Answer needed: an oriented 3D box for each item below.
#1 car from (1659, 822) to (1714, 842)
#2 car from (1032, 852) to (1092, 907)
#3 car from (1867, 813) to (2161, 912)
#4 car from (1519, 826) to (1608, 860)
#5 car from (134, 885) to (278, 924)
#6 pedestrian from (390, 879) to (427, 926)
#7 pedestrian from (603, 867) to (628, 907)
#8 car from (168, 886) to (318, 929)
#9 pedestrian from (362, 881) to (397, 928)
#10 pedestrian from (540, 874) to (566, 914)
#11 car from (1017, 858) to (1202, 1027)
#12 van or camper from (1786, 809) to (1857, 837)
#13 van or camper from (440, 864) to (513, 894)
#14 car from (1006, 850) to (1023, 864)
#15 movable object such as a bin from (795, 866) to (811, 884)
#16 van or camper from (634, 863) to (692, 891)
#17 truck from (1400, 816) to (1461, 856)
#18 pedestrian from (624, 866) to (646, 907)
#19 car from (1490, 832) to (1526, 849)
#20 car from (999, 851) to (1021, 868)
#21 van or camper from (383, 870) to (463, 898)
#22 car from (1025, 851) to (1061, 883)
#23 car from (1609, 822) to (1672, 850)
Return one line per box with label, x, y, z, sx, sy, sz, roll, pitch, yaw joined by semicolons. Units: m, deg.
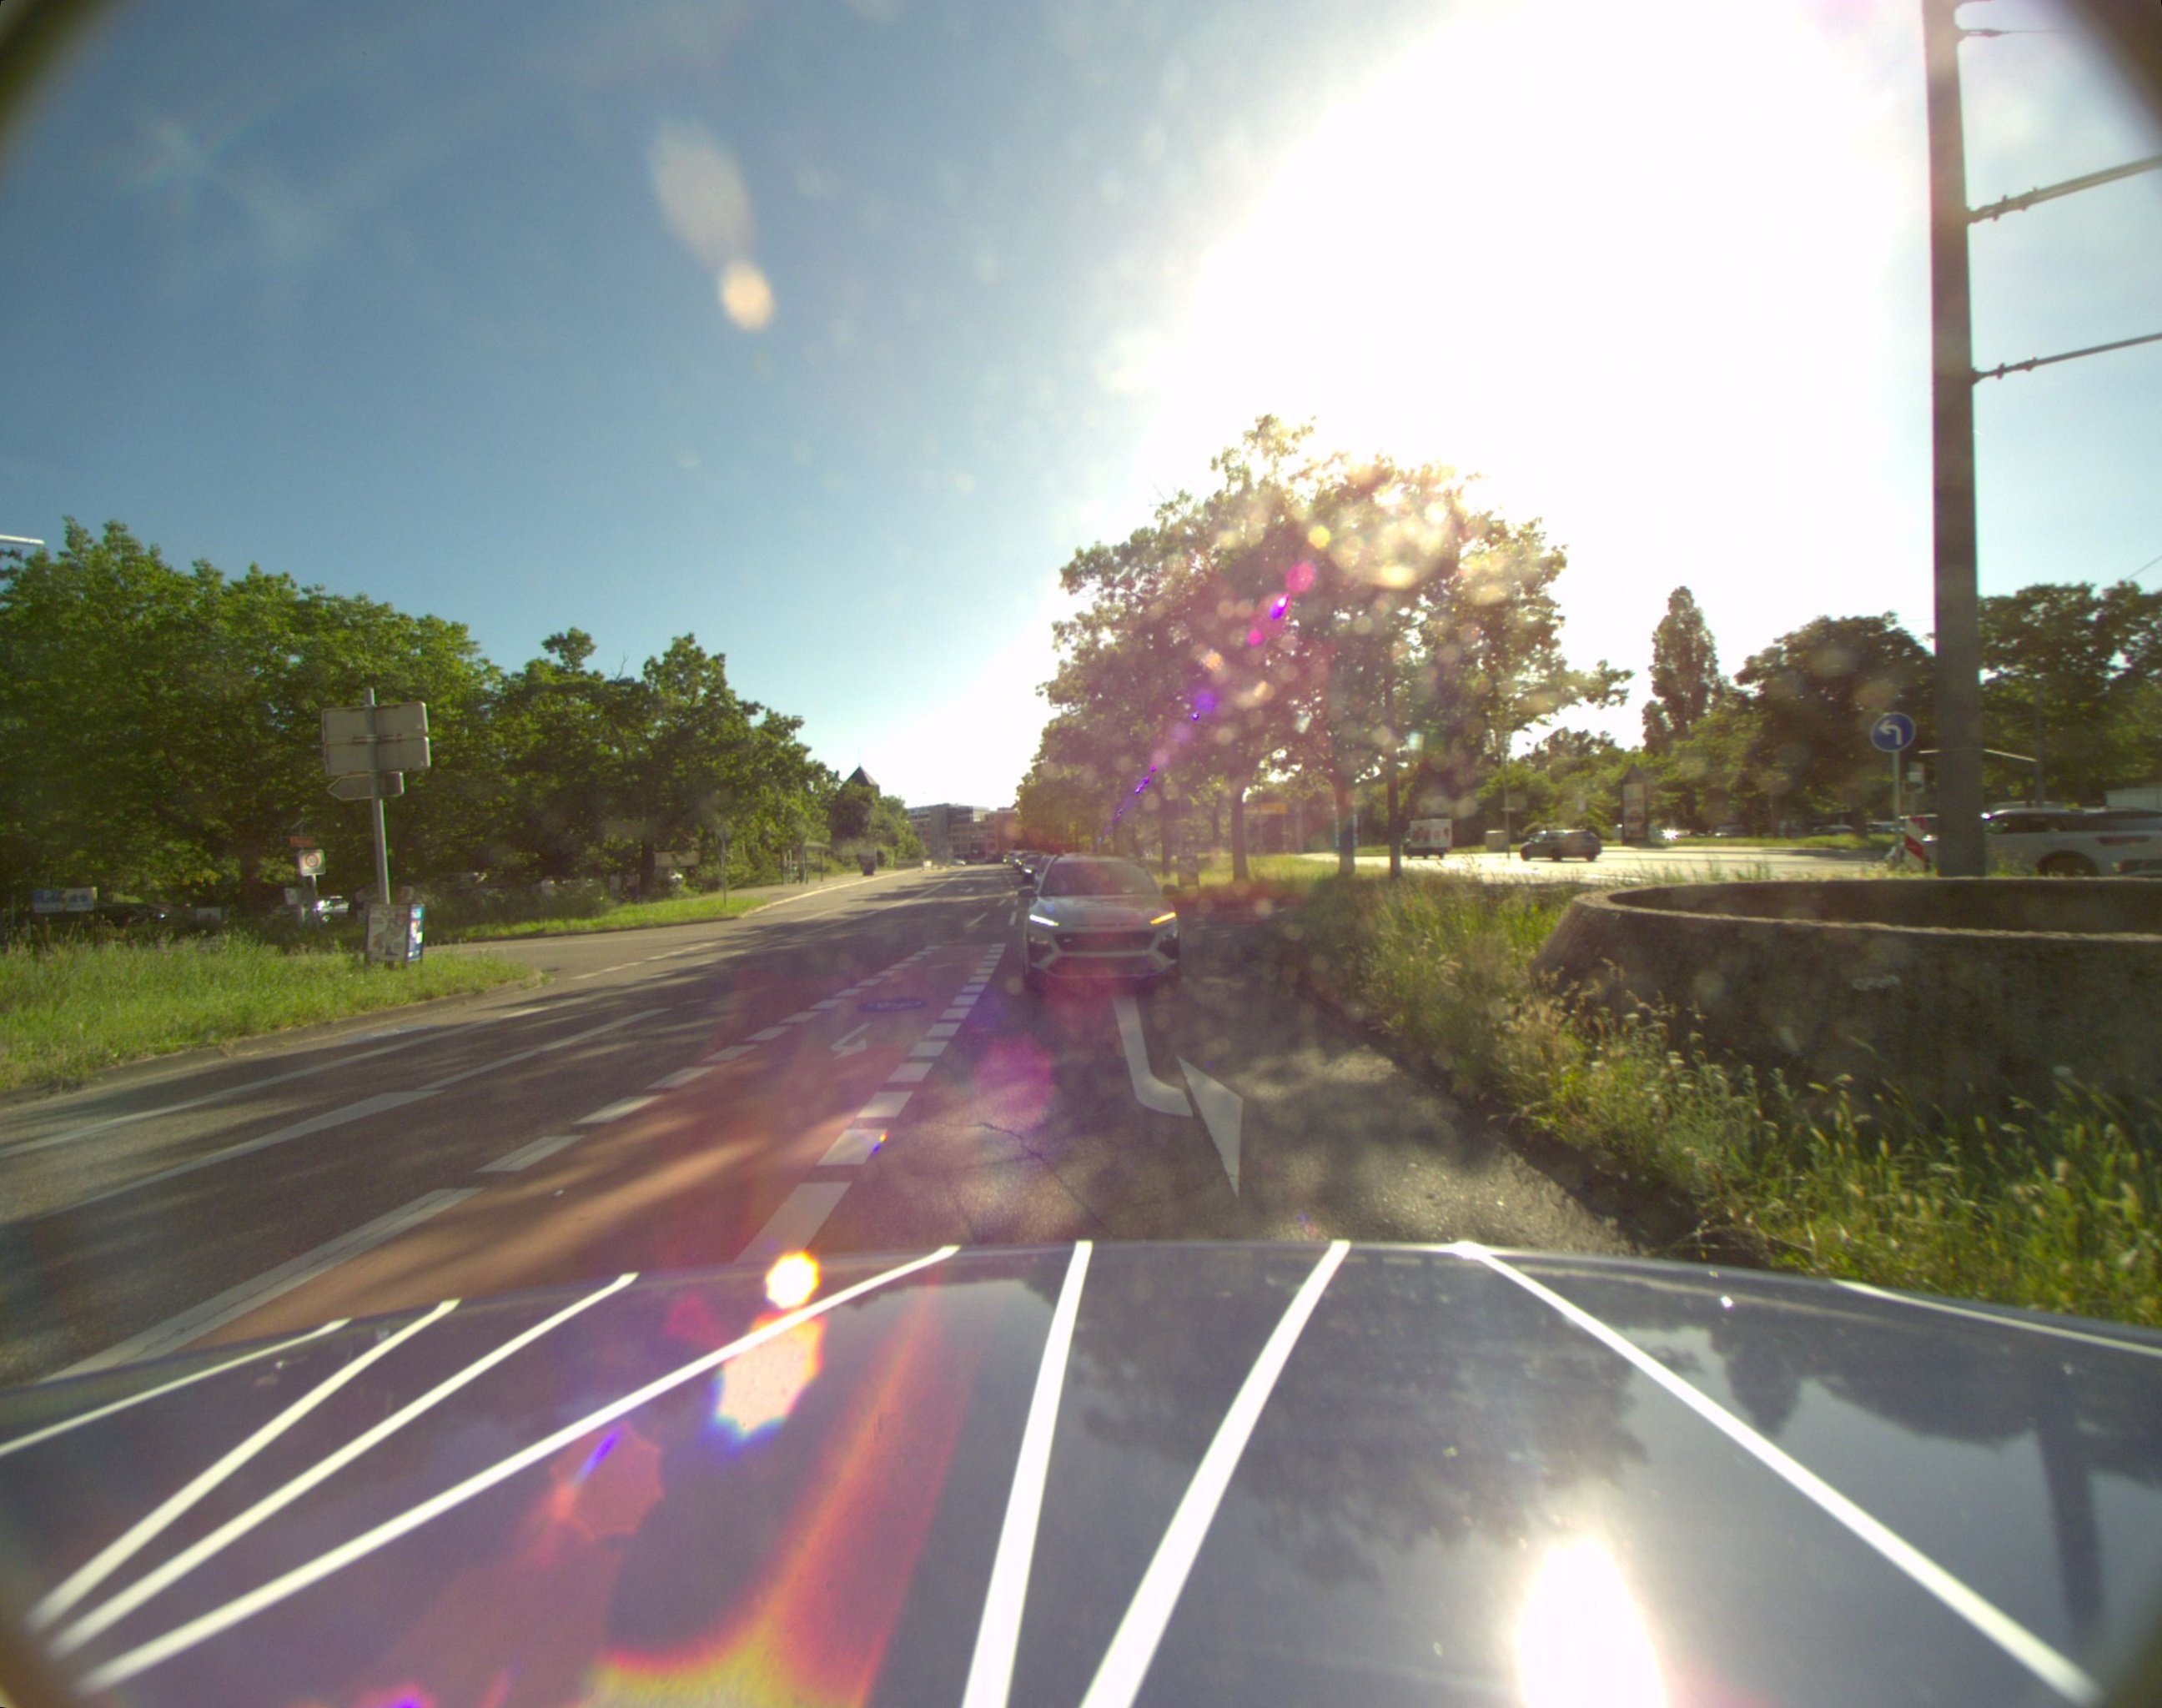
car;44.984;-1.659;56.442;4.006;1.275;1.995;-3;1;-32
car;-0.614;0.767;24.870;1.745;1.539;3.999;-2;1;-1
car;18.165;0.090;14.475;1.998;1.553;4.387;-3;1;4
car;22.842;-0.504;36.191;1.667;1.440;4.403;-3;1;4
car;-36.541;2.087;31.828;3.652;1.268;1.621;-3;3;-12
pedestrian;-24.406;1.763;27.581;0.705;1.610;0.566;-4;2;-12
pedestrian;-19.324;1.364;31.533;0.624;1.625;0.551;-3;1;-6
car;-32.673;2.051;29.730;3.589;1.307;1.621;-3;3;-12
pedestrian;-25.282;1.826;27.397;0.599;1.610;0.566;-4;2;-12
pedestrian;-20.782;1.568;29.902;0.529;1.509;0.613;-3;1;-4
car;0.142;0.885;9.532;1.781;1.543;3.978;-3;1;-4
van or camper;60.379;-2.481;62.088;1.997;2.084;4.404;-2;1;10
van or camper;-49.124;2.011;61.922;2.459;2.146;5.321;-3;1;-12
car;-8.463;0.432;97.093;1.745;1.539;4.001;-4;-2;-1
movable object such as a bin;-16.396;1.217;44.895;0.729;1.024;0.578;-3;1;-7
van or camper;-33.472;1.795;61.047;2.459;1.902;5.322;-3;1;-11
truck;22.828;-1.162;49.768;1.793;2.413;4.108;-3;1;-3
pedestrian;-18.796;1.377;32.053;0.604;1.690;0.410;-3;1;-7
car;39.832;-1.276;70.892;1.819;1.440;4.003;-2;1;13
car;-6.559;0.507;70.241;1.782;1.397;3.998;-3;1;-3
van or camper;-52.798;2.387;61.152;2.459;1.902;5.322;-3;1;-11
car;-1.948;0.628;39.752;1.678;1.499;3.948;-2;1;-1
car;43.756;-1.423;59.437;5.007;2.002;2.234;-3;1;-32
